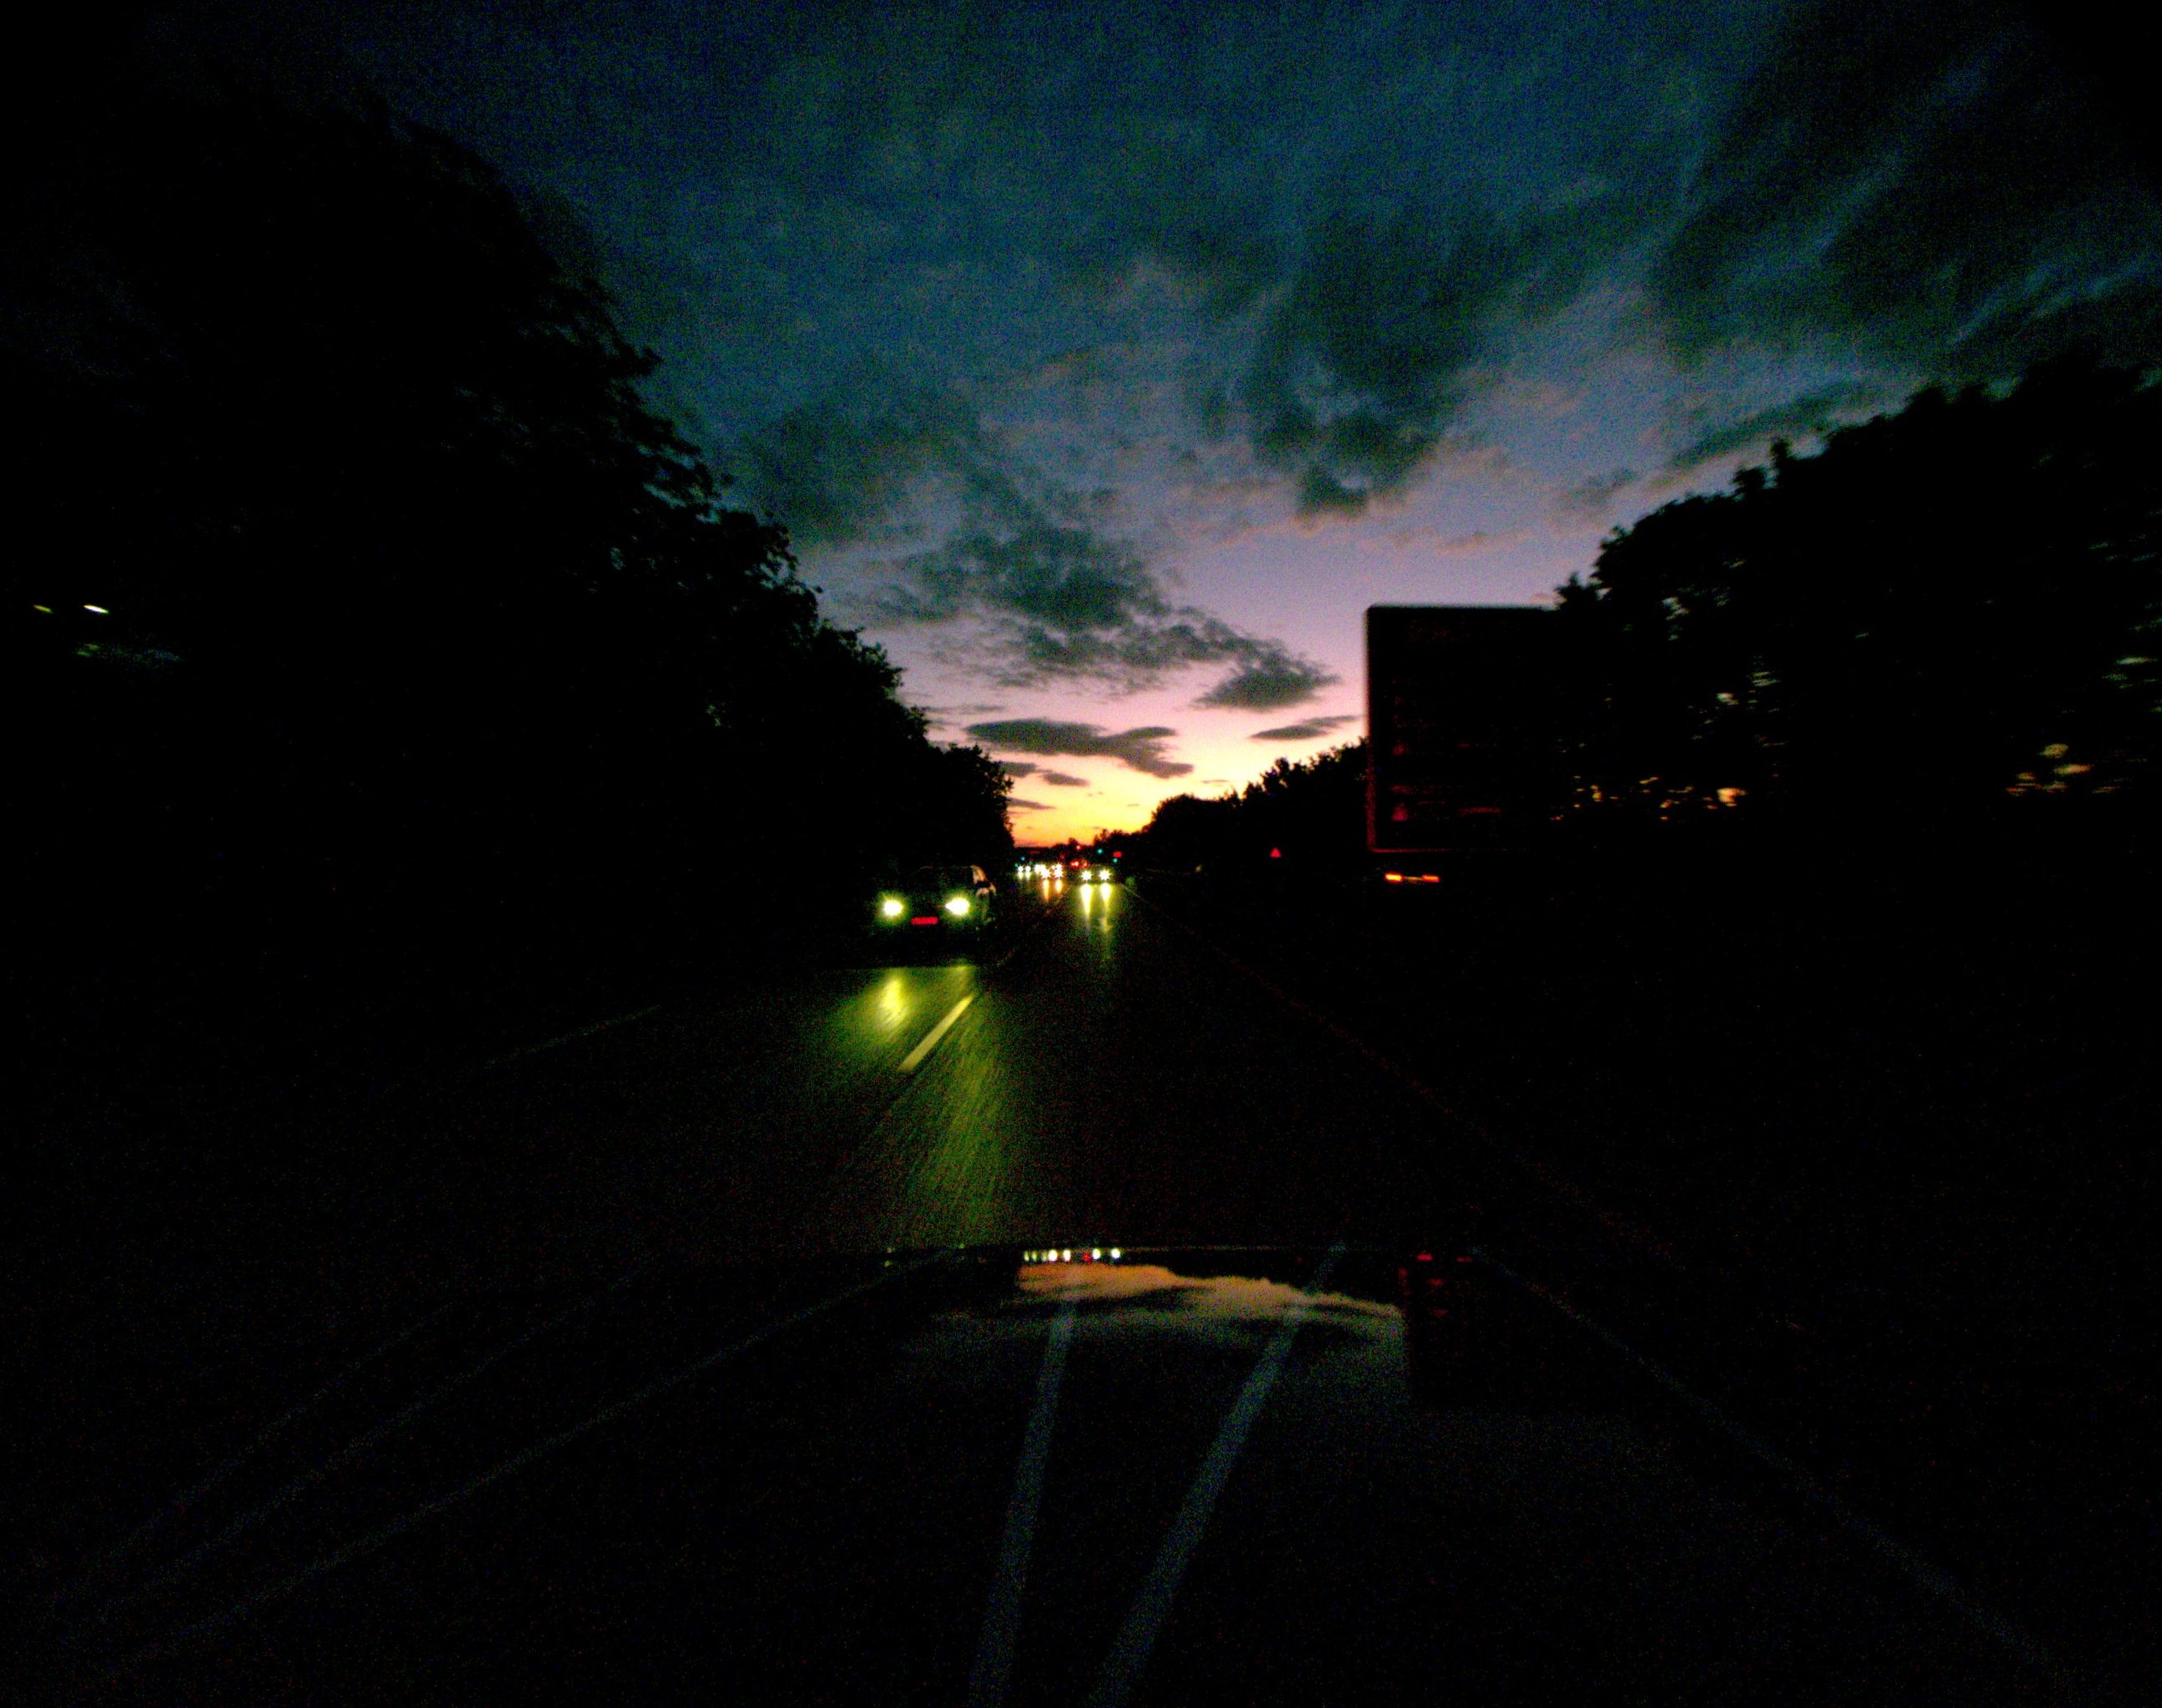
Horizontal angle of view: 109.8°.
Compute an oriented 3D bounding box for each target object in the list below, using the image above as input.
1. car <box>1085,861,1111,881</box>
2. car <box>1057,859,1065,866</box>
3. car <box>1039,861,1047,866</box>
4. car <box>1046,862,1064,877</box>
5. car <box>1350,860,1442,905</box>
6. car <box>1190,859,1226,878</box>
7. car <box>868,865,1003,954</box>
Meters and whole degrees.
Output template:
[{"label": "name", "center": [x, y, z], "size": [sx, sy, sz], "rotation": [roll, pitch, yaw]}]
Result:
[{"label": "car", "center": [1.346, 1.297, 60.485], "size": [1.901, 1.472, 4.514], "rotation": [-2, 0, 0]}, {"label": "car", "center": [-5.186, 2.208, 197.284], "size": [1.999, 1.602, 4.501], "rotation": [-1, 0, -1]}, {"label": "car", "center": [-10.792, 2.782, 215.890], "size": [1.999, 1.423, 4.501], "rotation": [0, 0, -1]}, {"label": "car", "center": [-2.732, 1.658, 80.596], "size": [1.624, 1.460, 3.871], "rotation": [-2, 0, 0]}, {"label": "car", "center": [12.763, 1.111, 31.098], "size": [1.799, 1.661, 4.501], "rotation": [-1, 0, -1]}, {"label": "car", "center": [9.798, 1.117, 58.965], "size": [1.926, 1.423, 4.501], "rotation": [0, 0, -1]}, {"label": "car", "center": [-3.016, 1.102, 16.832], "size": [1.998, 1.600, 4.712], "rotation": [-2, 0, 1]}]
